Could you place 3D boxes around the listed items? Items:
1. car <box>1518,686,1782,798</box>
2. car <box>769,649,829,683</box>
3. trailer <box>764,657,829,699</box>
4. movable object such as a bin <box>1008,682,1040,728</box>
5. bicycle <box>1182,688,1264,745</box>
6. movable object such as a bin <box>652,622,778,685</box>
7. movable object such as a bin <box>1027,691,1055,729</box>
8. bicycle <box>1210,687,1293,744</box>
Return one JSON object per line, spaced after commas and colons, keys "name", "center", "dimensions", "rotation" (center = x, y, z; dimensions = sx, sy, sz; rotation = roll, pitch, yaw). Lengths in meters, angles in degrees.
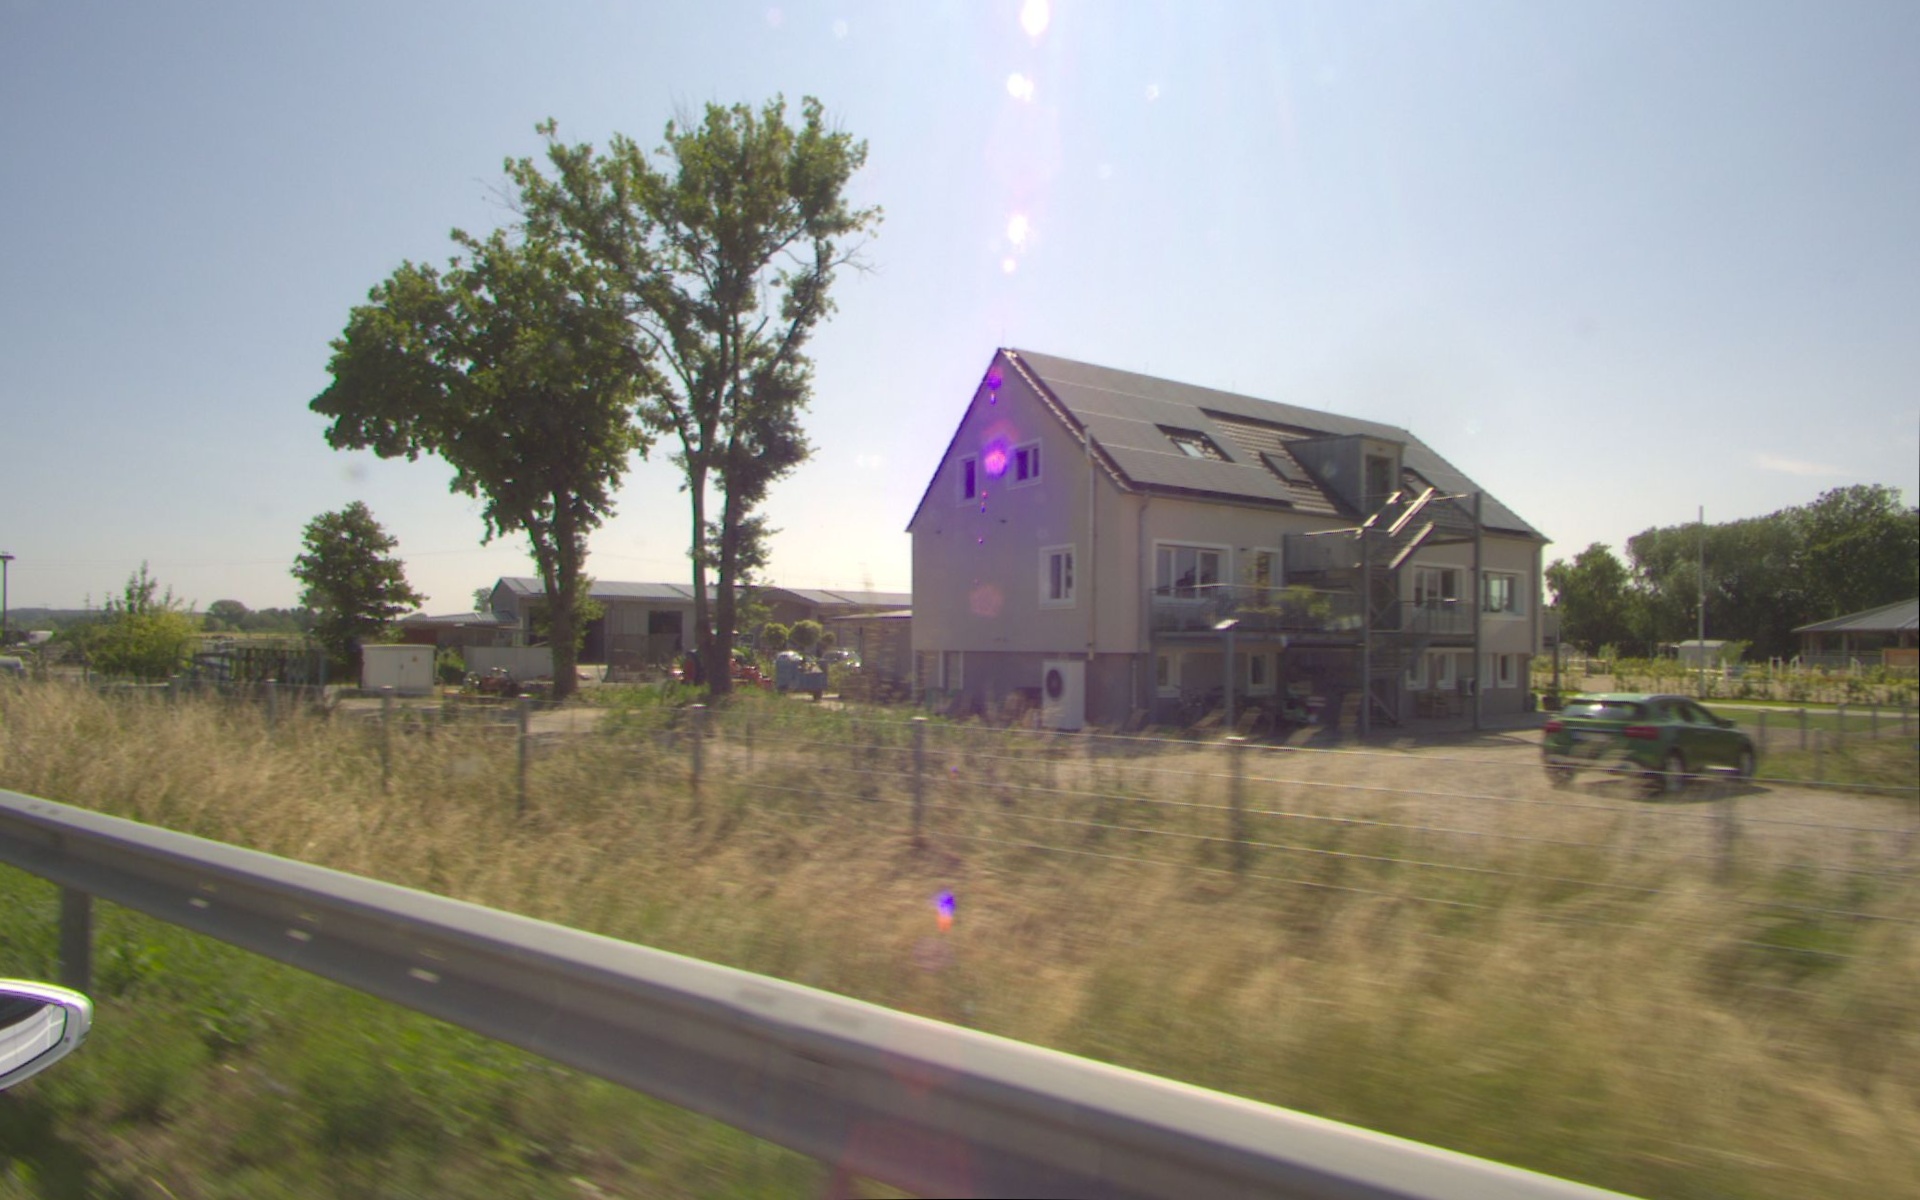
{"name": "car", "center": [11.353, 2.249, 16.429], "dimensions": [4.314, 1.599, 1.925], "rotation": [4, -5, -31]}
{"name": "car", "center": [-9.015, 3.675, 55.922], "dimensions": [1.973, 1.595, 3.854], "rotation": [3, 0, -30]}
{"name": "trailer", "center": [-6.194, 2.920, 37.659], "dimensions": [1.689, 1.514, 3.134], "rotation": [2, -4, -23]}
{"name": "movable object such as a bin", "center": [1.697, 2.773, 26.546], "dimensions": [0.570, 1.165, 0.658], "rotation": [2, -2, -28]}
{"name": "bicycle", "center": [6.125, 2.699, 23.429], "dimensions": [0.704, 1.206, 1.961], "rotation": [3, -3, -28]}
{"name": "movable object such as a bin", "center": [-11.798, 2.520, 47.862], "dimensions": [2.984, 2.804, 6.443], "rotation": [4, -4, -43]}
{"name": "movable object such as a bin", "center": [2.112, 2.853, 26.072], "dimensions": [0.496, 0.922, 0.557], "rotation": [2, -2, -28]}
{"name": "bicycle", "center": [6.931, 2.735, 23.931], "dimensions": [0.705, 1.206, 1.960], "rotation": [3, -3, -30]}
